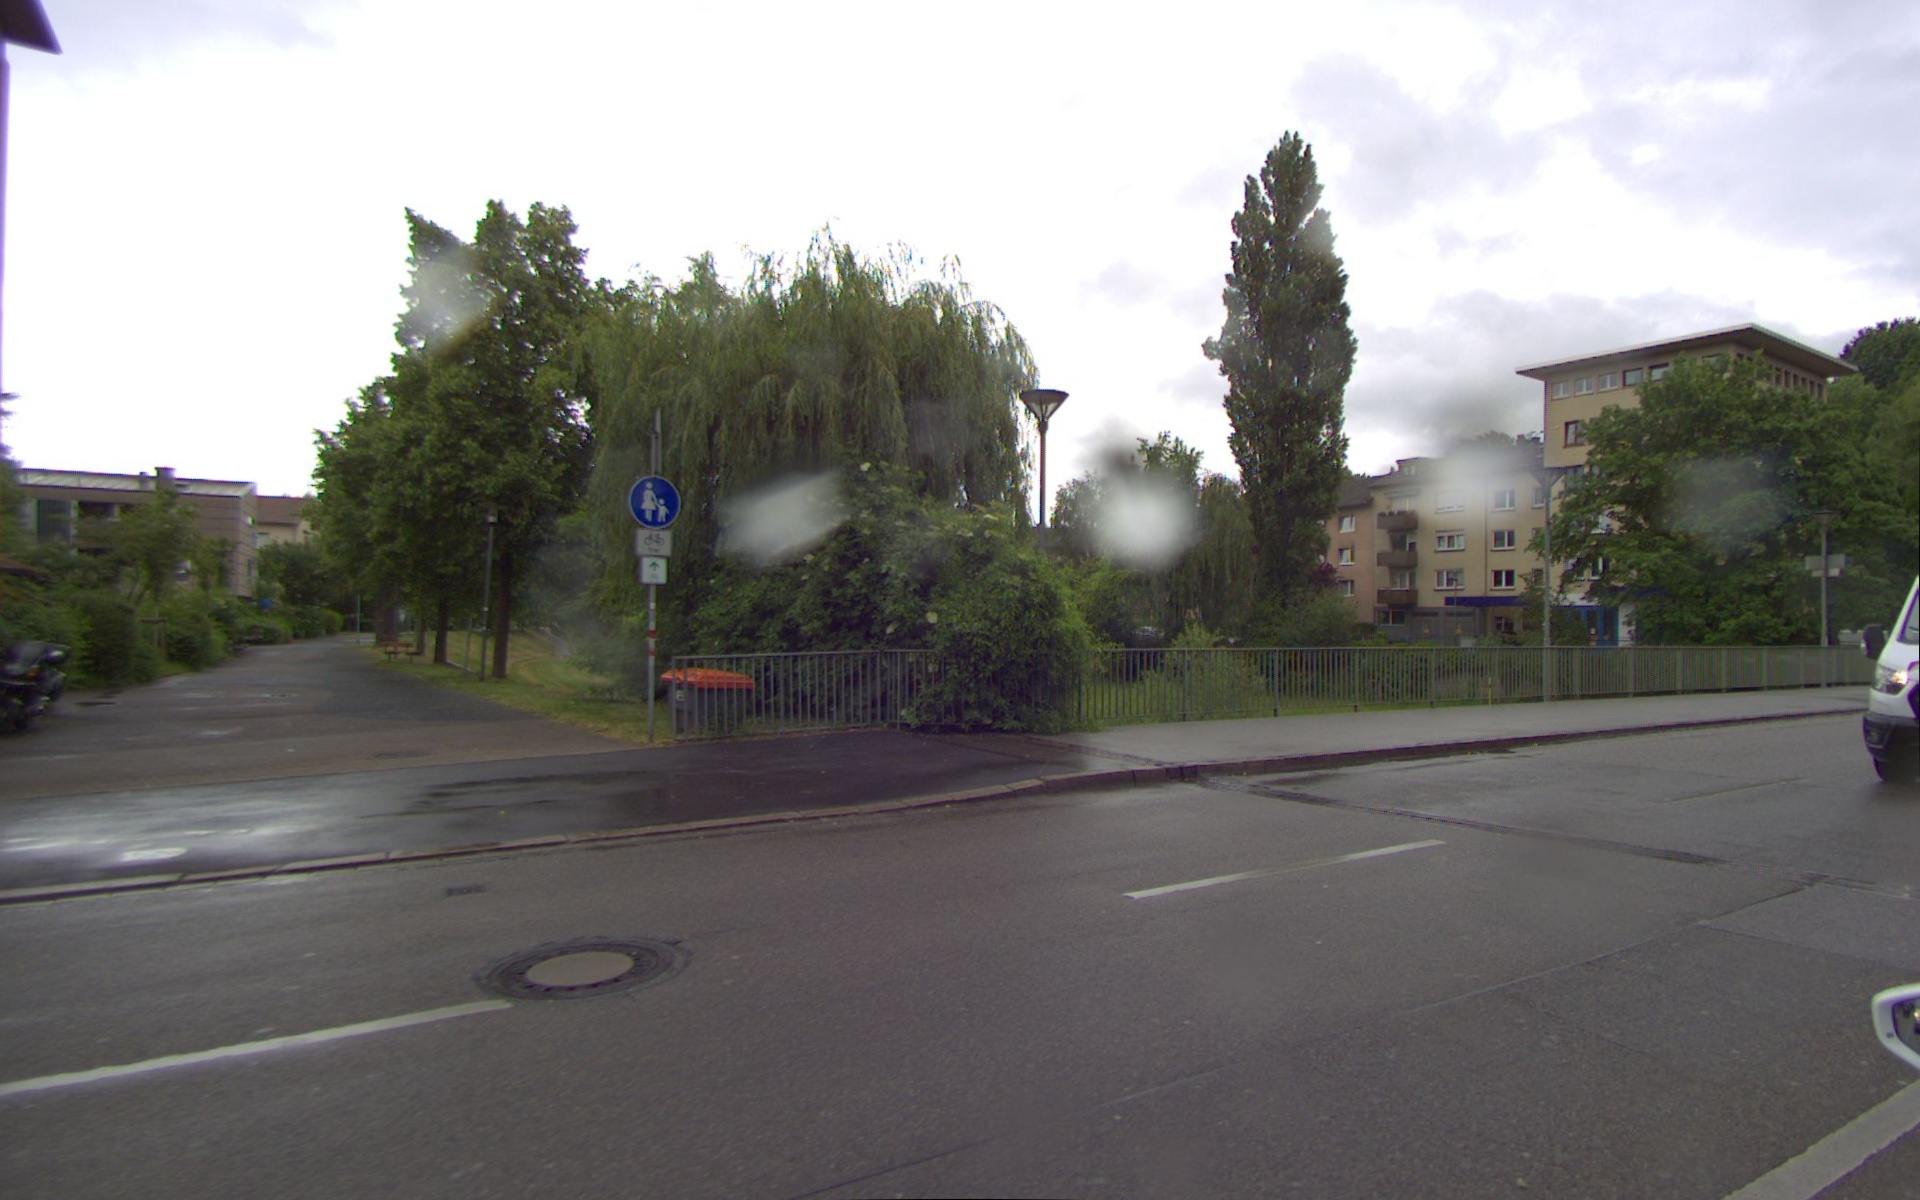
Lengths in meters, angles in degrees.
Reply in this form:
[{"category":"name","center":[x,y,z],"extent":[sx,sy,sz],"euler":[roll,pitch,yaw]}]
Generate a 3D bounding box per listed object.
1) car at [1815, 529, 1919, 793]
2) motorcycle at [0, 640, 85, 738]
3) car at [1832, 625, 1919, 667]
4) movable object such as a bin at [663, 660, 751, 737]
[{"category":"car","center":[11.475,0.553,10.206],"extent":[6.433,2.339,2.278],"euler":[1,-2,-31]},{"category":"motorcycle","center":[-13.316,1.227,14.454],"extent":[0.773,1.280,2.379],"euler":[0,-1,-34]},{"category":"car","center":[45.384,2.204,48.469],"extent":[1.982,1.879,4.706],"euler":[-1,0,-38]},{"category":"movable object such as a bin","center":[-3.168,1.207,12.545],"extent":[0.822,0.888,0.961],"euler":[2,-2,-30]}]
